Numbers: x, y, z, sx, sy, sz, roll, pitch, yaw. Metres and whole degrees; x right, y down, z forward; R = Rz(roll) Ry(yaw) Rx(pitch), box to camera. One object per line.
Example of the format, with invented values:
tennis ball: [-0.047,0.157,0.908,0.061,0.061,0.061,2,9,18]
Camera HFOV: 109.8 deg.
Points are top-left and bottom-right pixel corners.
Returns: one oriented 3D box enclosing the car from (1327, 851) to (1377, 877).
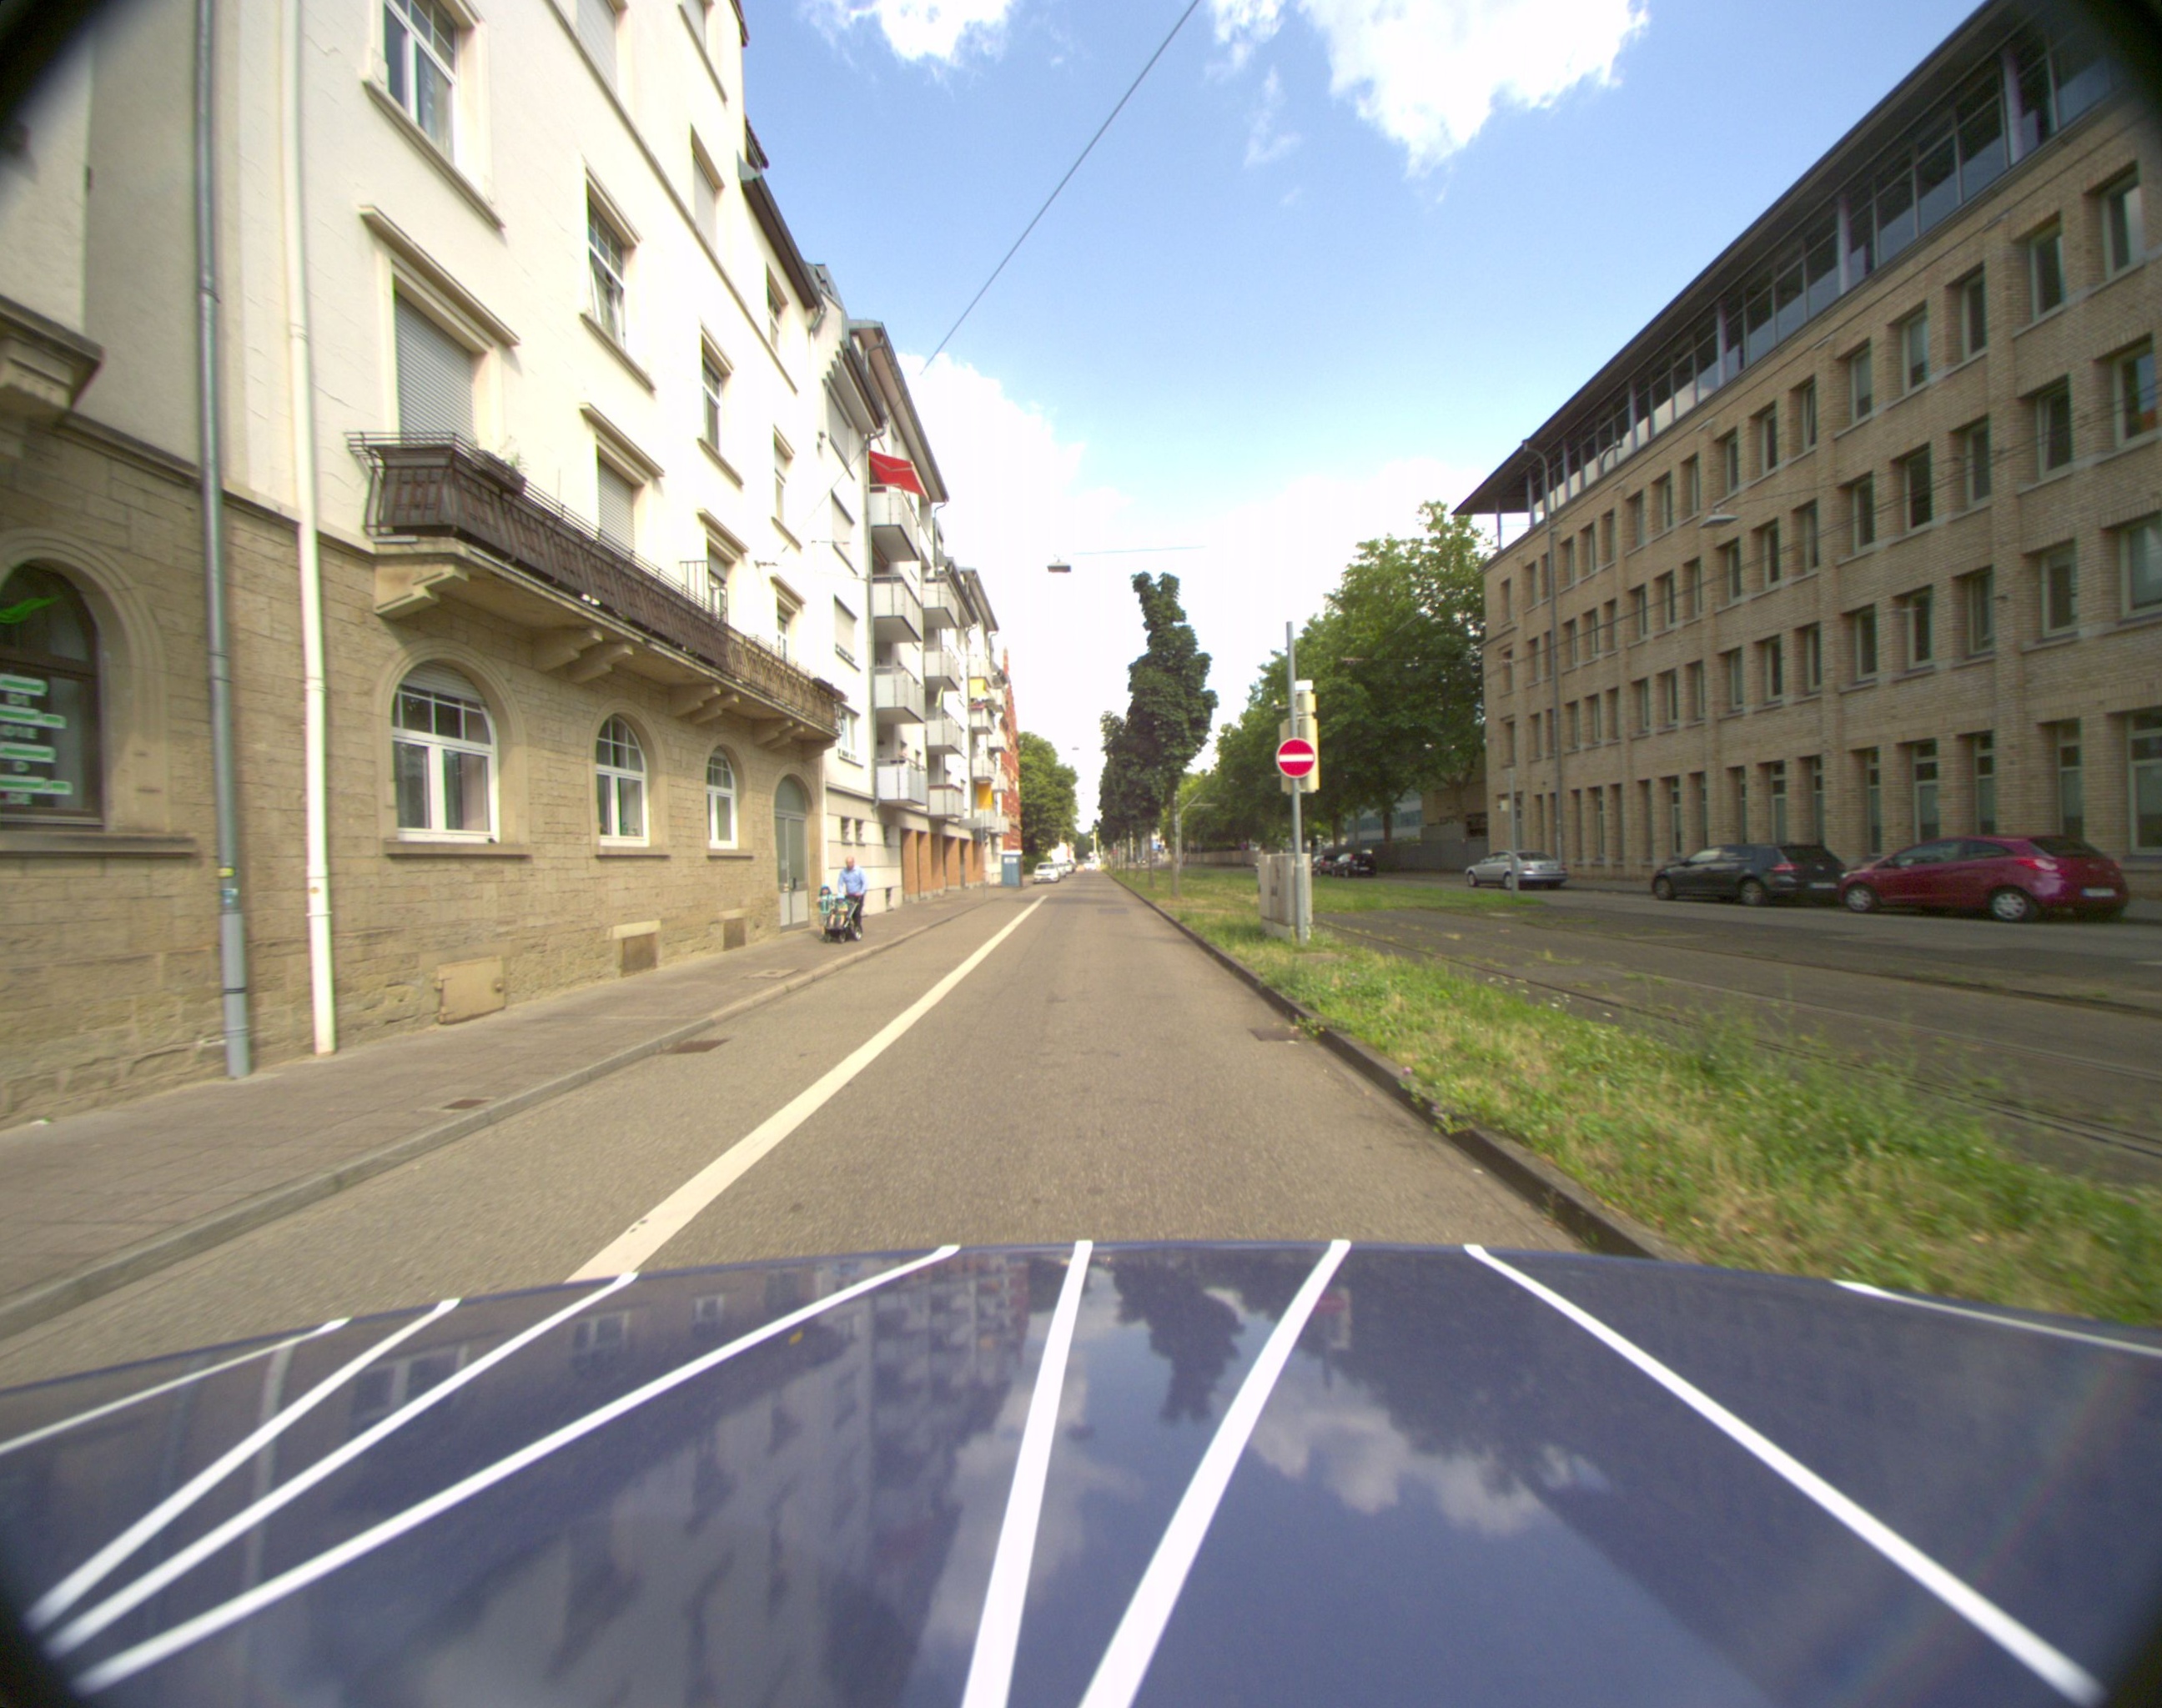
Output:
car: [16.227,0.598,45.674,1.807,1.444,4.001,-2,0,4]

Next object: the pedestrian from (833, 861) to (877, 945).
pedestrian: [-4.837,1.028,16.312,0.622,1.728,0.877,2,0,2]

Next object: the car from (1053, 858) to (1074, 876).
car: [-1.640,1.191,71.843,1.801,1.521,4.041,-3,0,1]

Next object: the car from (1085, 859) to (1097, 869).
car: [1.563,1.521,116.765,1.801,1.521,4.041,-3,0,1]

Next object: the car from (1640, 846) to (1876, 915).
car: [15.842,0.560,18.162,1.937,1.388,4.239,-2,0,2]

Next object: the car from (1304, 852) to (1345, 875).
car: [16.343,0.617,51.157,1.558,1.417,3.902,-2,0,1]

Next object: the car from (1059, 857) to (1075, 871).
car: [-1.667,1.165,93.014,1.801,1.521,4.041,-4,0,1]

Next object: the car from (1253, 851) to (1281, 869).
car: [16.397,0.508,66.976,1.601,1.455,4.001,-2,0,3]

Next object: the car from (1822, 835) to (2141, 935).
car: [15.842,0.484,13.683,1.586,1.521,3.550,-2,0,2]

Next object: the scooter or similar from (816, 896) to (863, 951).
scooter or similar: [-4.883,1.390,15.397,0.594,0.996,0.906,2,0,2]

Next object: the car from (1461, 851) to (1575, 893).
car: [15.948,0.615,28.032,1.719,1.388,4.485,-2,0,2]

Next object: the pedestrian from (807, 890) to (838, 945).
pedestrian: [-5.402,1.318,15.882,0.457,1.128,0.494,0,0,2]

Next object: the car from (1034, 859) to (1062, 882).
car: [-2.395,1.178,55.850,1.801,1.521,4.041,-3,0,1]
